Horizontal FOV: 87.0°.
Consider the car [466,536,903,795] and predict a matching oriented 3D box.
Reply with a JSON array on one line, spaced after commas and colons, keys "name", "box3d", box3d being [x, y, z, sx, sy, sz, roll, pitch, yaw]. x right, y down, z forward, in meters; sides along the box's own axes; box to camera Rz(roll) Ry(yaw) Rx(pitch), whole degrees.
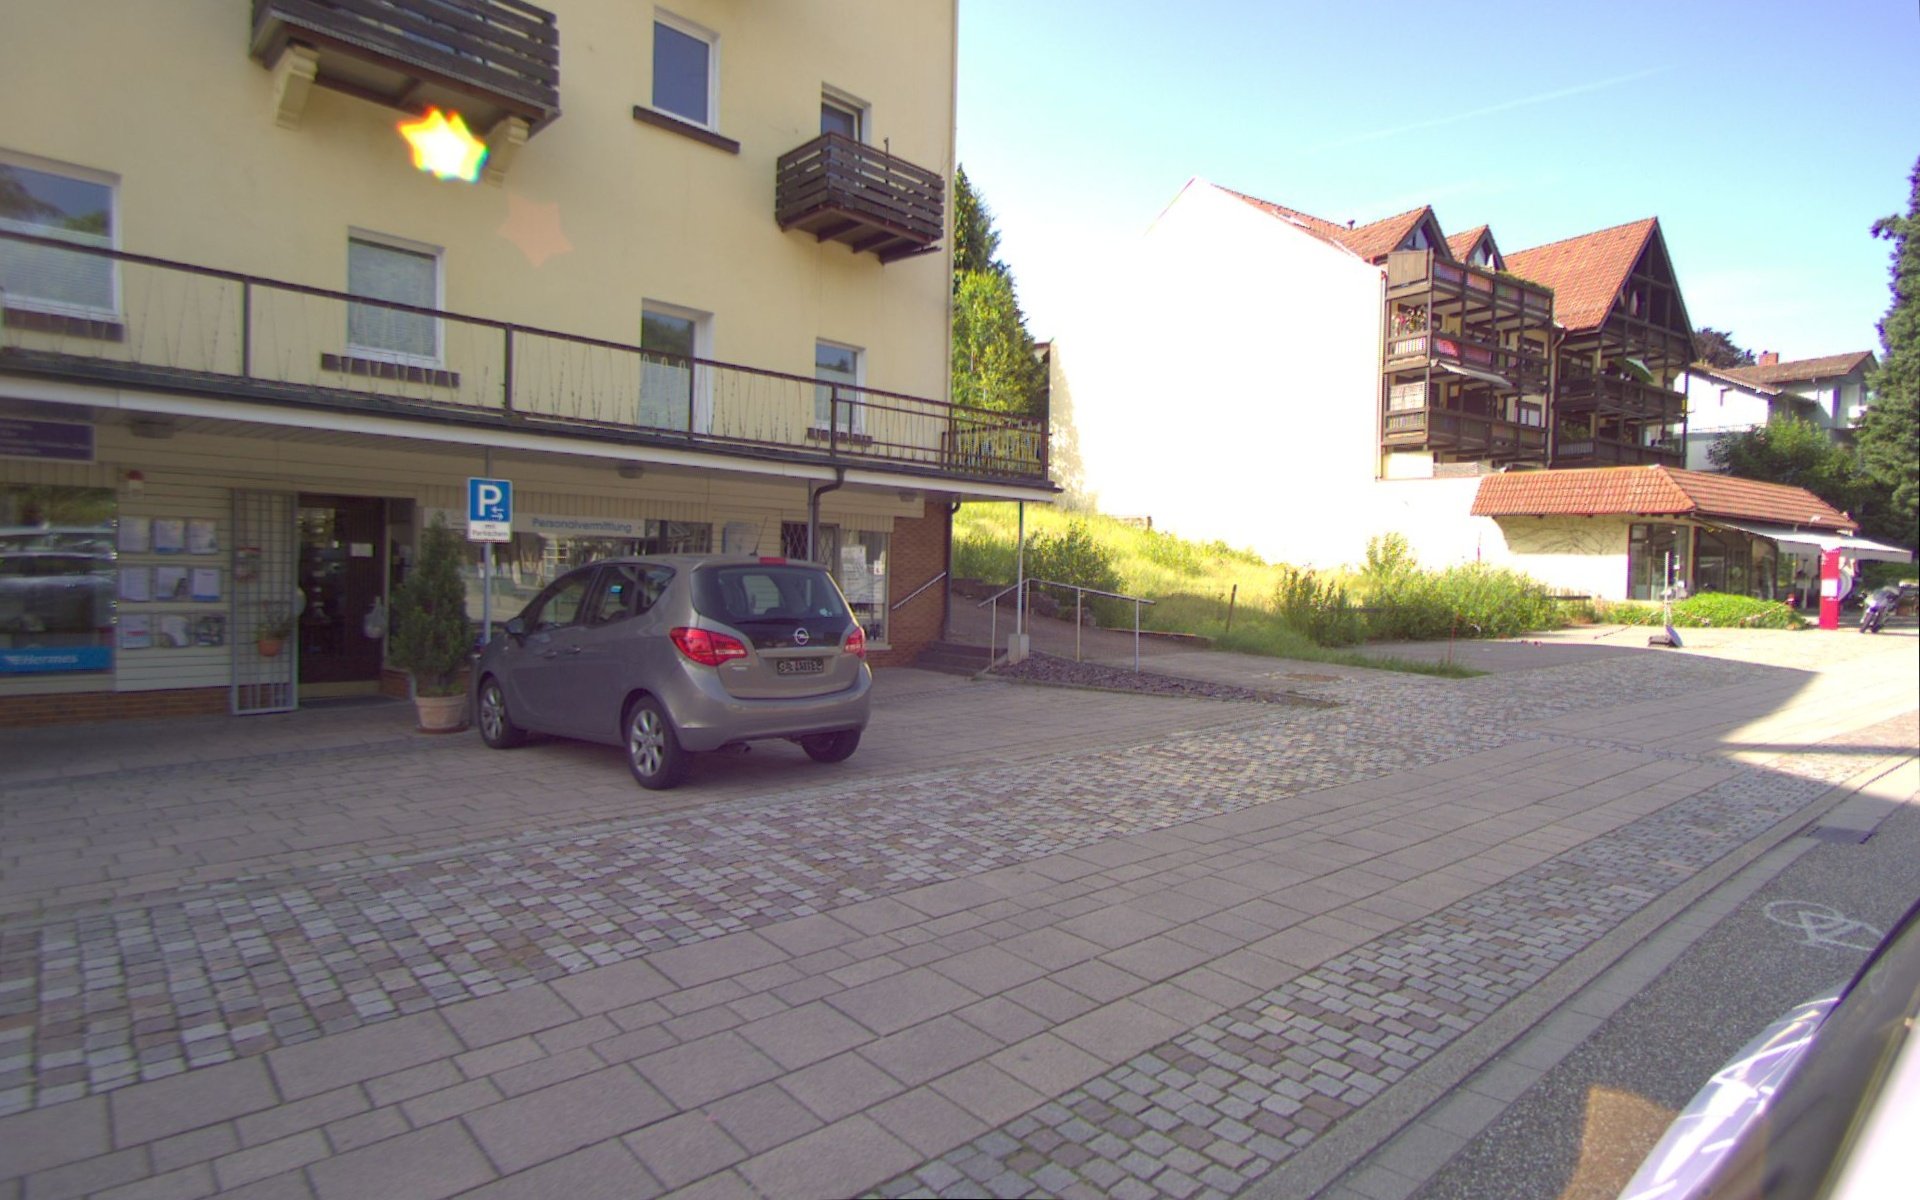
[{"name": "car", "box3d": [-2.383, 0.405, 8.138, 1.732, 1.574, 3.860, 0, 0, -45]}]

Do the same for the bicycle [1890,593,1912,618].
[{"name": "bicycle", "box3d": [35.834, 0.207, 38.547, 0.395, 0.852, 1.596, 2, 4, 35]}]

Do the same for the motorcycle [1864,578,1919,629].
[{"name": "motorcycle", "box3d": [25.527, 0.075, 27.691, 2.171, 1.311, 0.699, 0, 5, -37]}]
